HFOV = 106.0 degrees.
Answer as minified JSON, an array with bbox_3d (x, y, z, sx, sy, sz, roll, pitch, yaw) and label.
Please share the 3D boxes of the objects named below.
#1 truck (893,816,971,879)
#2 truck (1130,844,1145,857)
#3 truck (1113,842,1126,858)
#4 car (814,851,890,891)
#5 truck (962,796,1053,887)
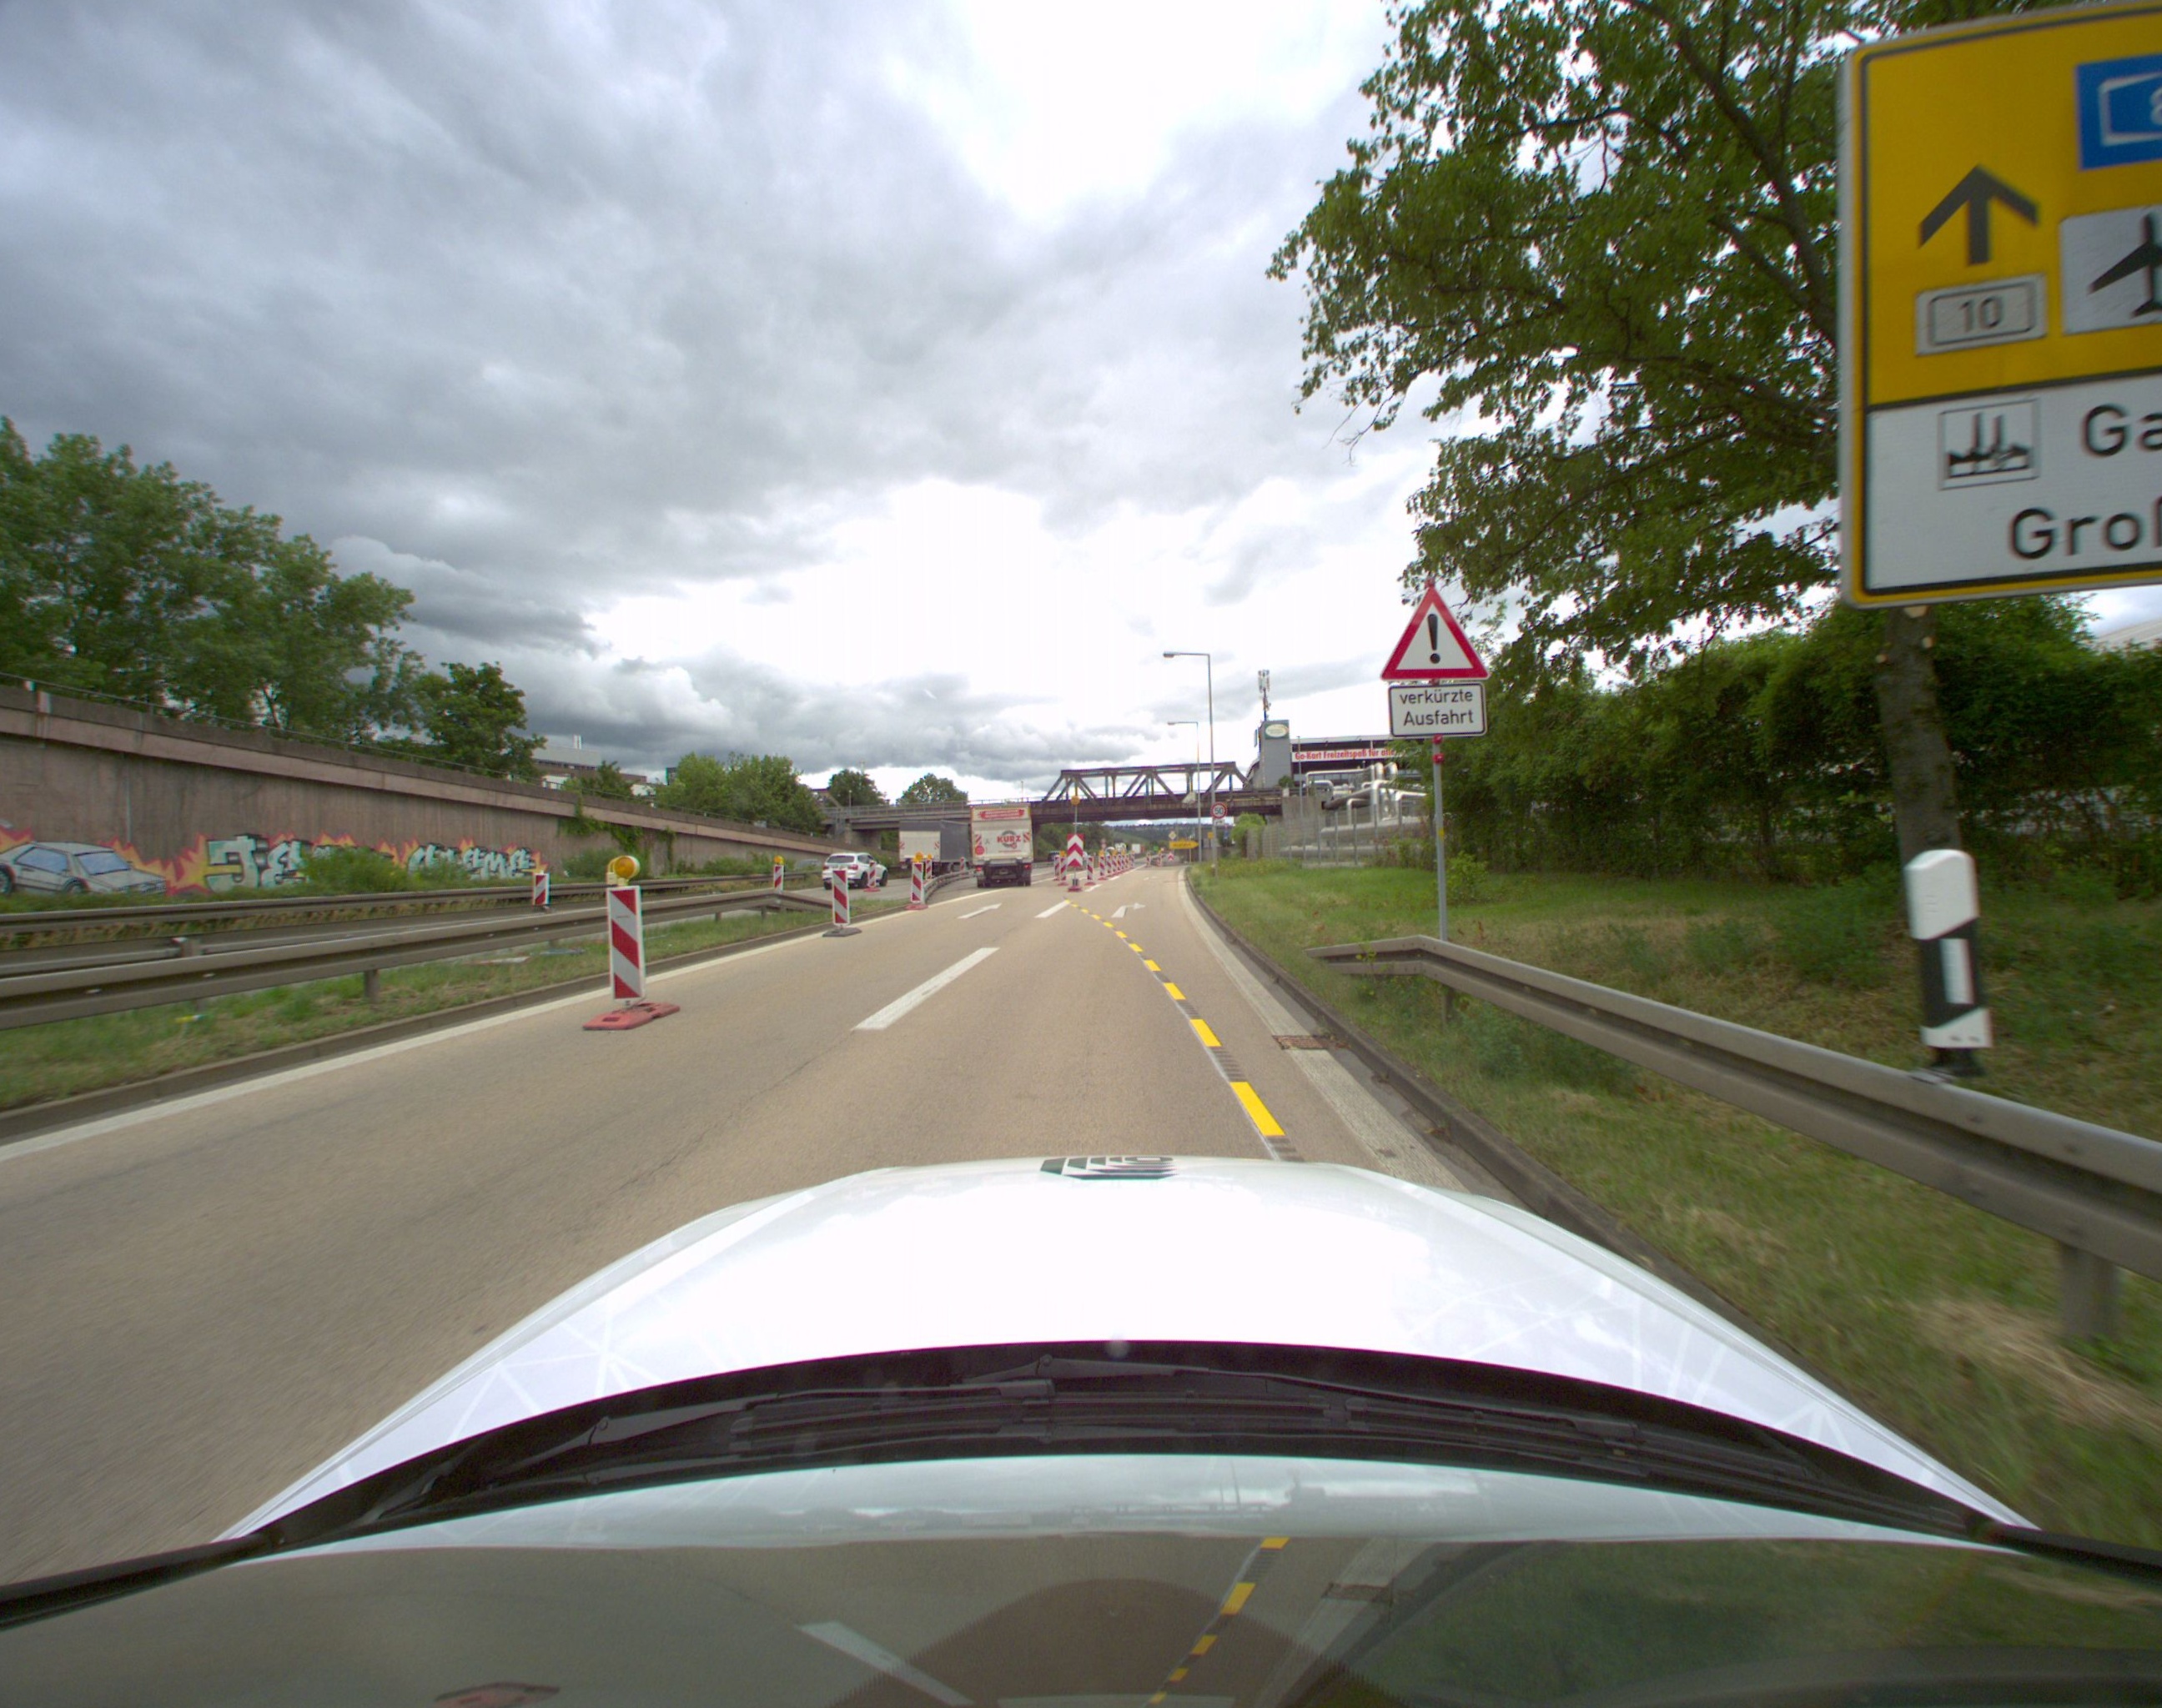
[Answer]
[{"bbox_3d":[-9.342,-0.328,51.926,3.037,3.656,7.402,-1,-1,4],"label":"truck"},{"bbox_3d":[15.898,-1.012,231.439,3.893,3.549,8.143,-1,-1,2],"label":"truck"},{"bbox_3d":[9.968,-0.974,211.451,3.273,3.853,7.670,-1,-1,3],"label":"truck"},{"bbox_3d":[-10.699,0.776,38.368,1.983,1.713,4.109,-2,-1,7],"label":"car"},{"bbox_3d":[-3.188,-0.427,37.720,3.038,3.673,7.932,-1,-1,3],"label":"truck"}]
